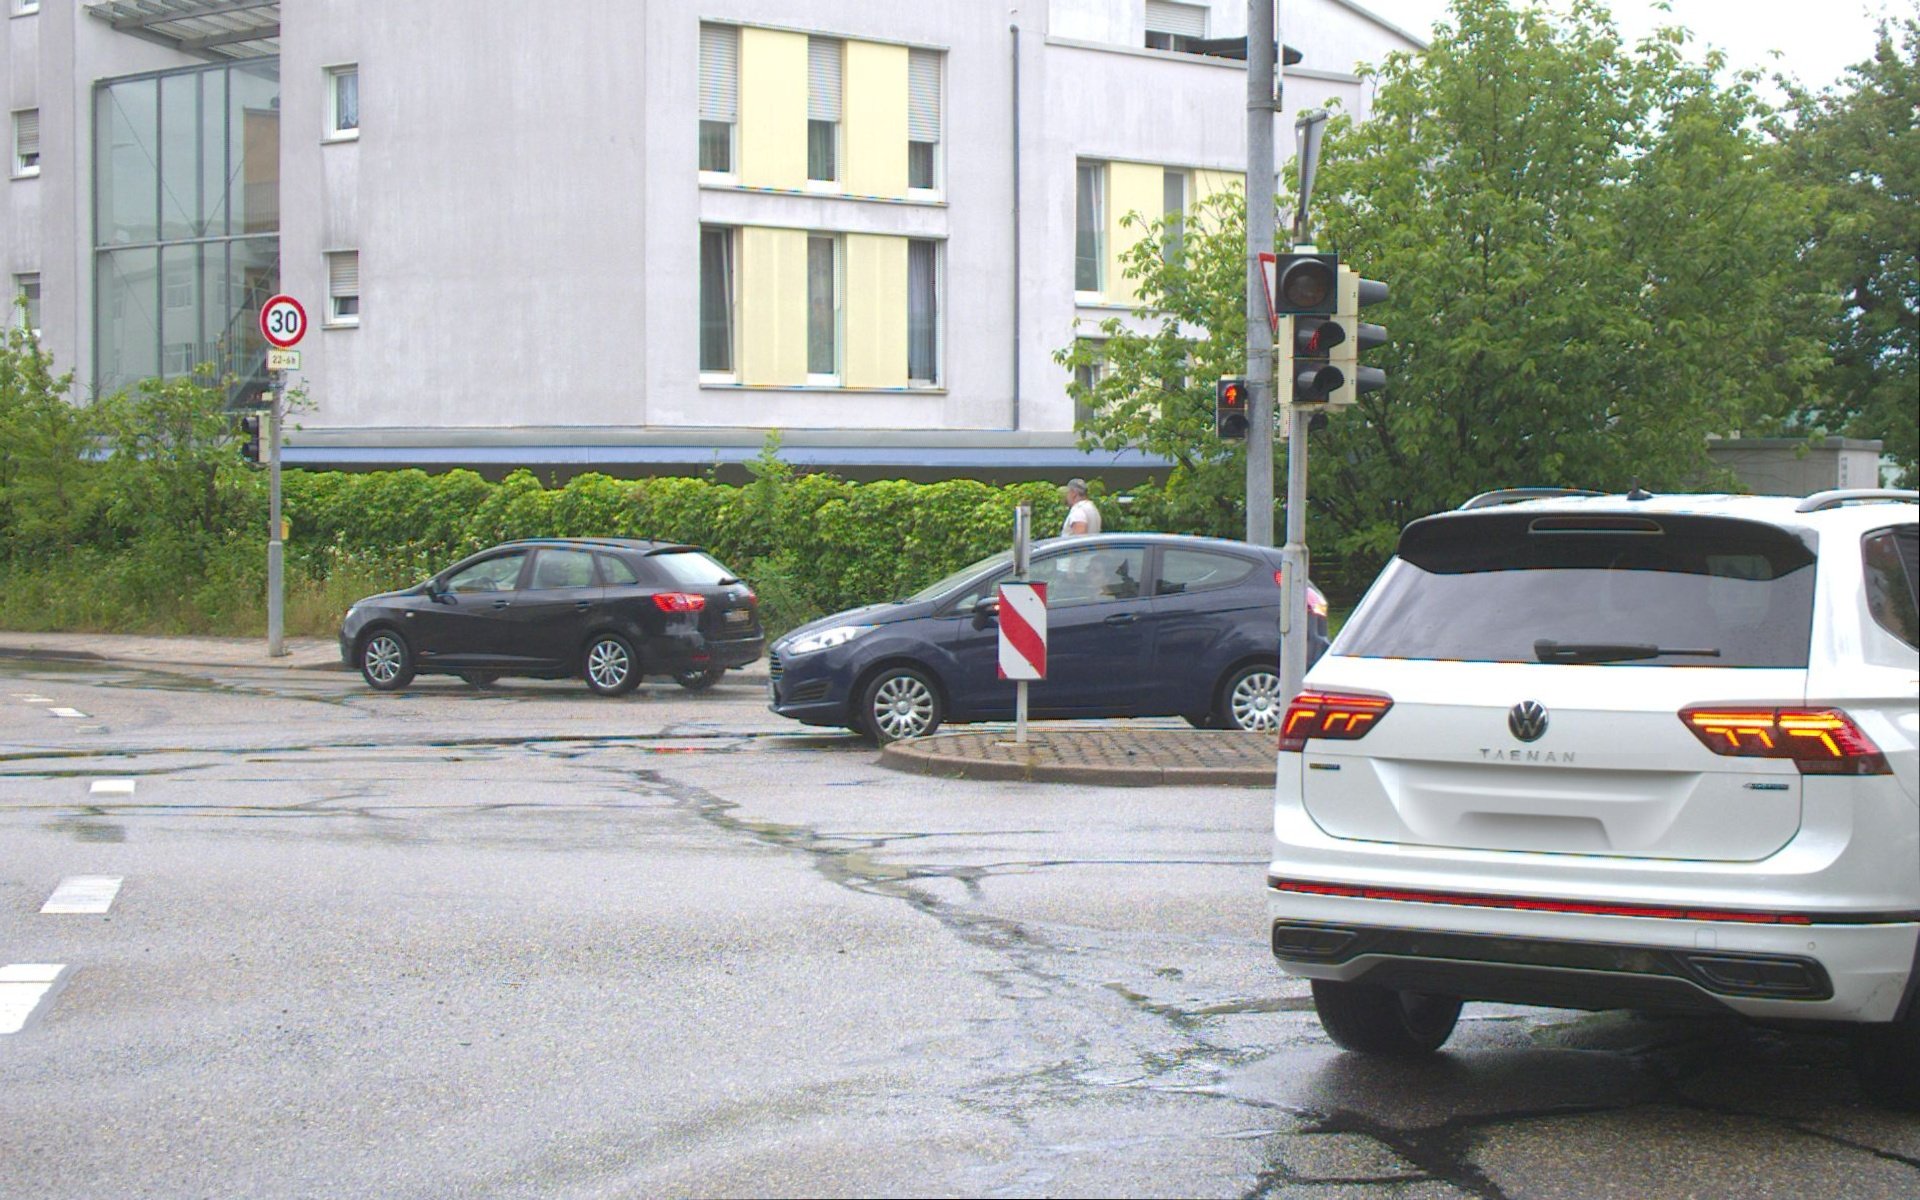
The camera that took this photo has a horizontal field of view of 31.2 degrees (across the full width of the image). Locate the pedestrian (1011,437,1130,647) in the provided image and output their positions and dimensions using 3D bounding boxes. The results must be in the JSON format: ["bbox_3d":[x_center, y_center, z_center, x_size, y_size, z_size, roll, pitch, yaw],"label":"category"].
[{"bbox_3d":[1.079,-0.582,33.605,0.801,2.006,0.848,3,4,40],"label":"pedestrian"}]

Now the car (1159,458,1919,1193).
[{"bbox_3d":[2.469,0.496,10.516,1.924,1.716,4.257,3,2,31],"label":"car"}]

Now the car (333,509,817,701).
[{"bbox_3d":[-3.564,0.002,31.929,3.992,1.546,1.998,2,4,22],"label":"car"}]

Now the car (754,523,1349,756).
[{"bbox_3d":[0.572,0.245,24.074,3.986,1.495,1.926,1,1,-3],"label":"car"}]
